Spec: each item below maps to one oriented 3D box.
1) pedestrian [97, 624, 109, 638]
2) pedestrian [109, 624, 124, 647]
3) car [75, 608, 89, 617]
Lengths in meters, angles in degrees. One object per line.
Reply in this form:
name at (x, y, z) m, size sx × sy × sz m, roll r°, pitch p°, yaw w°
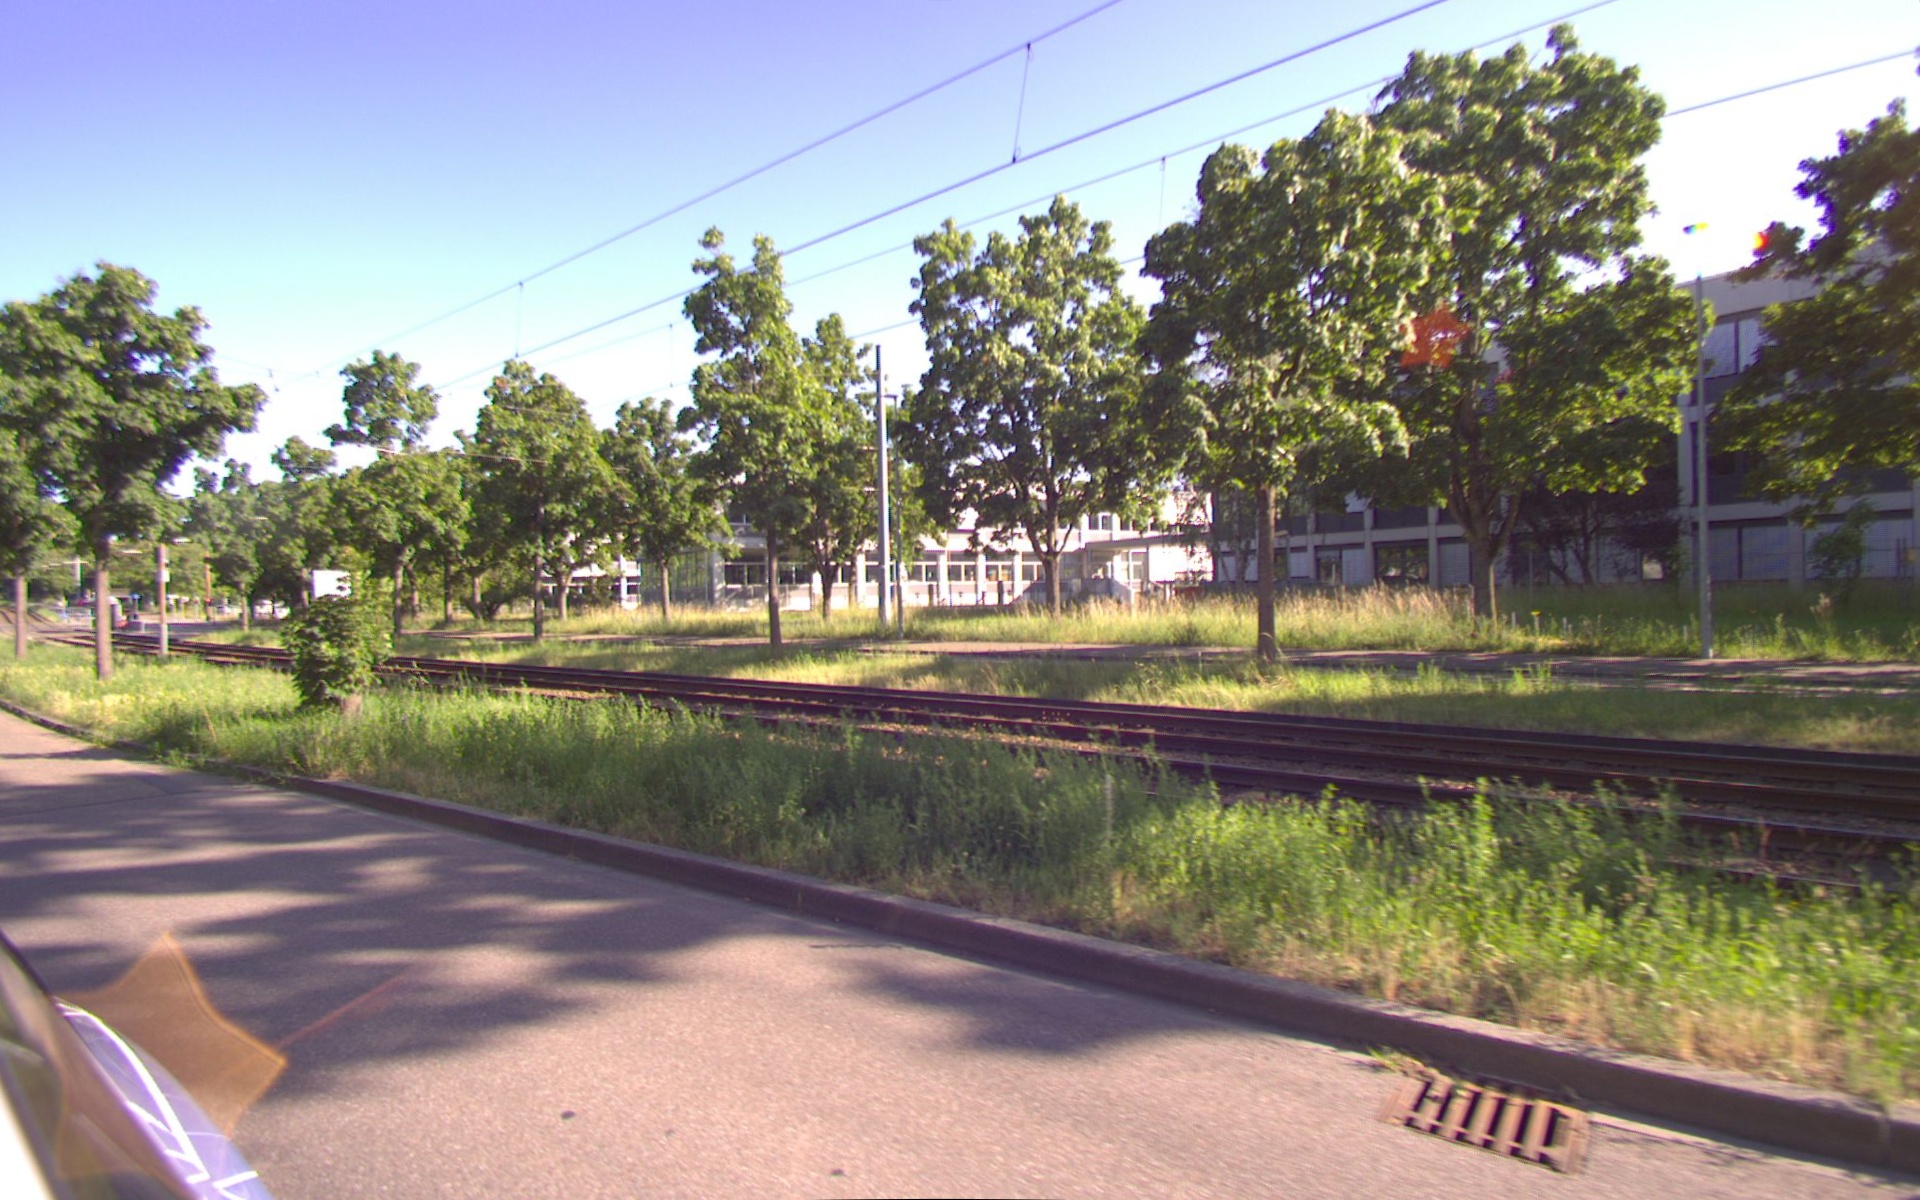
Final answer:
pedestrian at (-77.527, 2.822, 91.567) m, size 0.680 × 1.258 × 0.643 m, roll -1°, pitch -2°, yaw 35°
pedestrian at (-67.475, 2.842, 80.978) m, size 0.781 × 1.765 × 0.775 m, roll -1°, pitch 0°, yaw 43°
car at (-169.847, 2.462, 195.781) m, size 3.456 × 1.597 × 1.679 m, roll -1°, pitch -1°, yaw 43°
